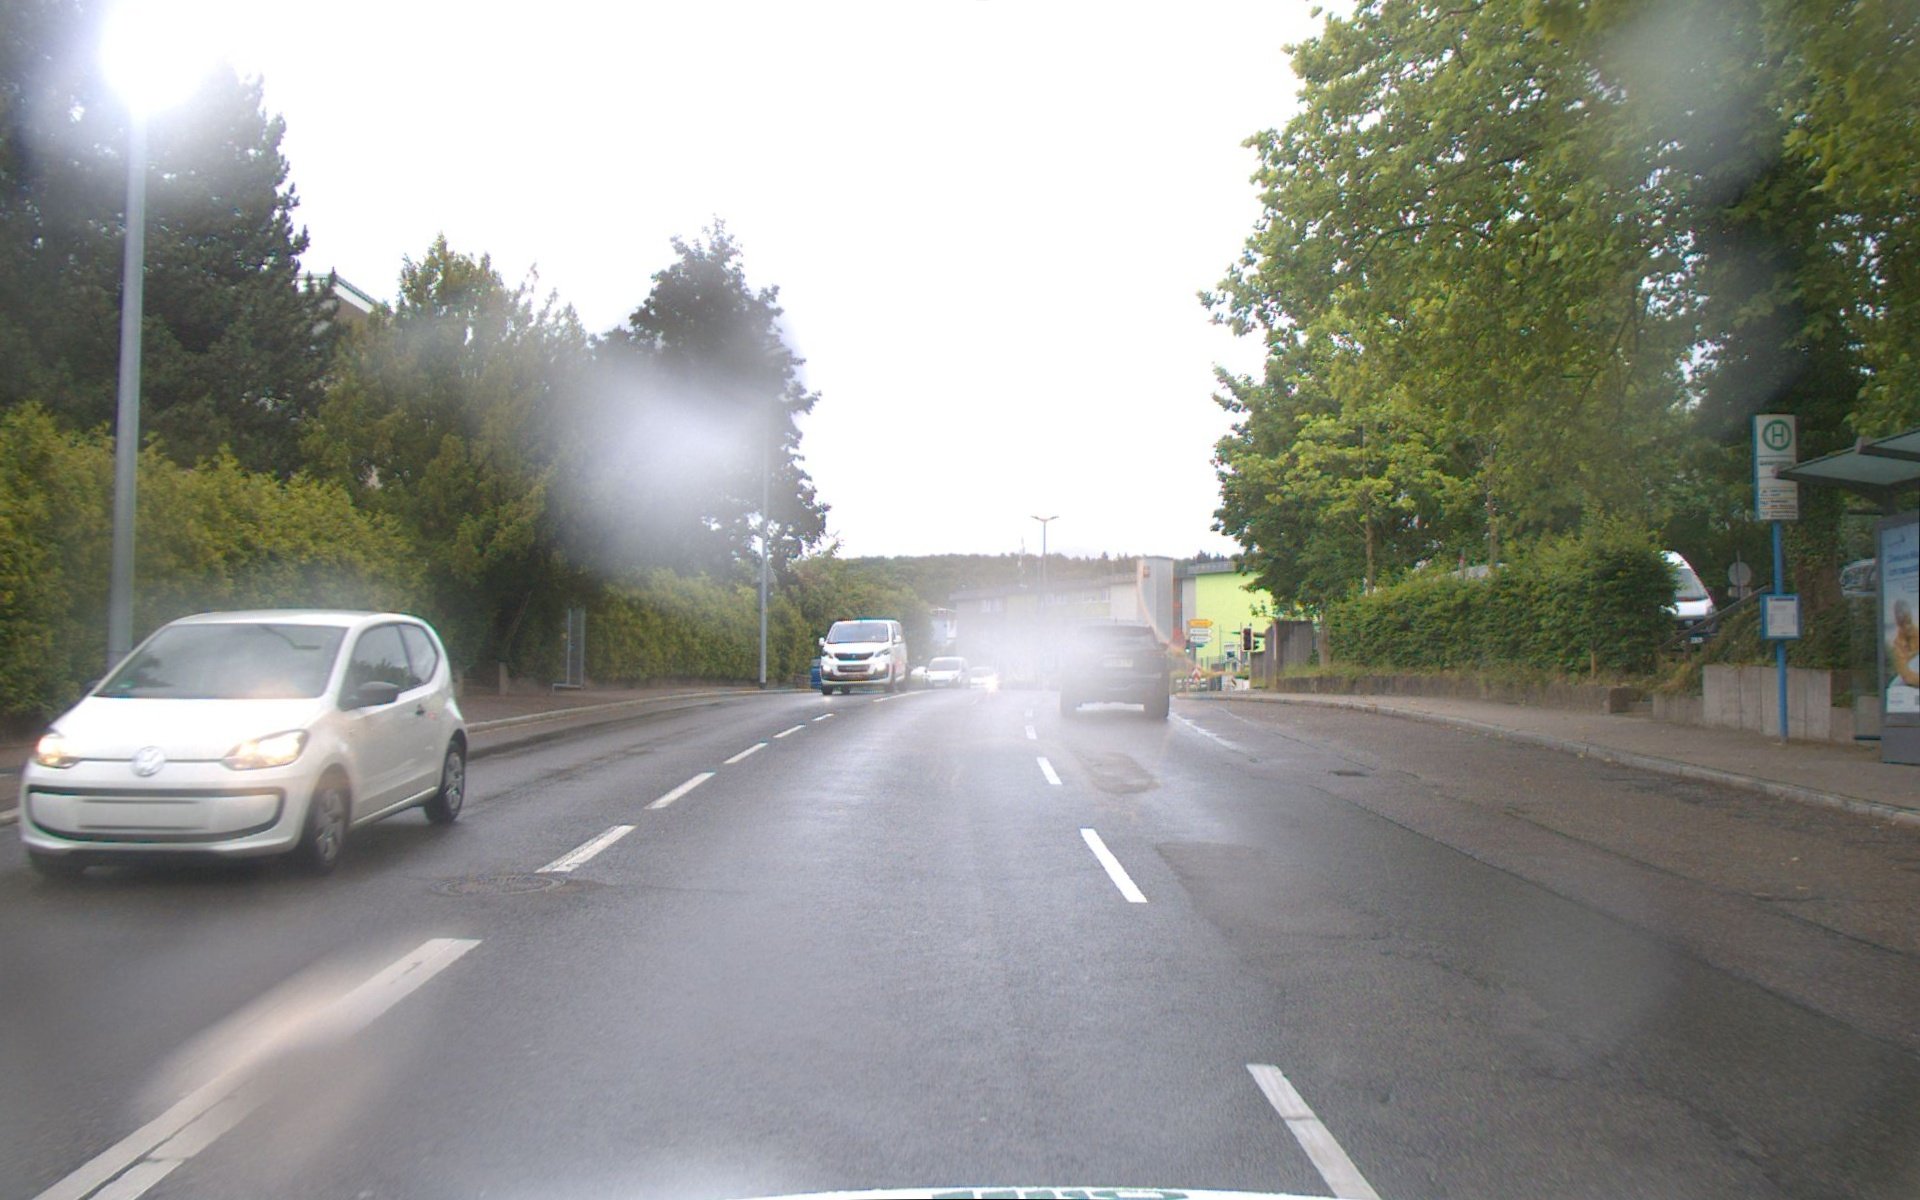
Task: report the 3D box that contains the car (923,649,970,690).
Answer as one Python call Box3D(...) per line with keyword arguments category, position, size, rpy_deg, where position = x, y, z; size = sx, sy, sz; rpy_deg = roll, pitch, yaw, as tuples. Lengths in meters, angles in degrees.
Box3D(category="car", position=(-0.583, 3.210, 76.302), size=(1.665, 1.738, 3.980), rpy_deg=(3, -3, 6))

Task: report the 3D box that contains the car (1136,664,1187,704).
Box3D(category="car", position=(8.066, 3.339, 66.290), size=(1.951, 1.467, 4.002), rpy_deg=(1, -1, 7))

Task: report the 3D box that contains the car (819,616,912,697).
Box3D(category="car", position=(-2.439, 1.460, 43.762), size=(1.824, 1.950, 5.031), rpy_deg=(-2, -1, 3))

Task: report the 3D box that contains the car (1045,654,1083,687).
Box3D(category="car", position=(5.138, 3.474, 81.246), size=(1.647, 1.533, 3.775), rpy_deg=(-1, -4, 6))

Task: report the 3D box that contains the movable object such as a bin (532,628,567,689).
Box3D(category="movable object such as a bin", position=(-9.230, 1.309, 37.210), size=(0.536, 1.349, 0.806), rpy_deg=(1, -2, 2))

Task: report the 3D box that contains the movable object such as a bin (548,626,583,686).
Box3D(category="movable object such as a bin", position=(-9.178, 1.299, 38.501), size=(0.536, 1.349, 0.806), rpy_deg=(1, -2, 2))

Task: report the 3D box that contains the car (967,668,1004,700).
Box3D(category="car", position=(1.372, 4.471, 87.984), size=(1.600, 1.607, 4.059), rpy_deg=(-3, -3, 5))

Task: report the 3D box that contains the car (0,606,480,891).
Box3D(category="car", position=(-4.284, 0.784, 10.338), size=(1.651, 1.479, 3.397), rpy_deg=(1, 0, -2))

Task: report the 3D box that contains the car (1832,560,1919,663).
Box3D(category="car", position=(15.913, 0.183, 26.186), size=(1.785, 1.611, 4.167), rpy_deg=(0, 0, -5))

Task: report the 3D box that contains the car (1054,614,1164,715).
Box3D(category="car", position=(2.544, 1.058, 28.781), size=(1.752, 1.631, 4.255), rpy_deg=(0, -1, 4))

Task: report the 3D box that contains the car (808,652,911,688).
Box3D(category="car", position=(-4.403, 3.088, 73.042), size=(4.390, 1.386, 1.805), rpy_deg=(2, -2, 1))

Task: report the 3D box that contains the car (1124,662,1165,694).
Box3D(category="car", position=(9.380, 3.937, 84.012), size=(1.951, 1.467, 4.003), rpy_deg=(1, -1, 8))

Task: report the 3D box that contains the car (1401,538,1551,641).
Box3D(category="car", position=(12.170, -0.261, 39.290), size=(1.955, 2.265, 4.129), rpy_deg=(1, 1, -5))

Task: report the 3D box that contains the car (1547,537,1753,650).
Box3D(category="car", position=(15.453, -0.163, 37.414), size=(2.006, 2.324, 5.009), rpy_deg=(2, 0, -8))
